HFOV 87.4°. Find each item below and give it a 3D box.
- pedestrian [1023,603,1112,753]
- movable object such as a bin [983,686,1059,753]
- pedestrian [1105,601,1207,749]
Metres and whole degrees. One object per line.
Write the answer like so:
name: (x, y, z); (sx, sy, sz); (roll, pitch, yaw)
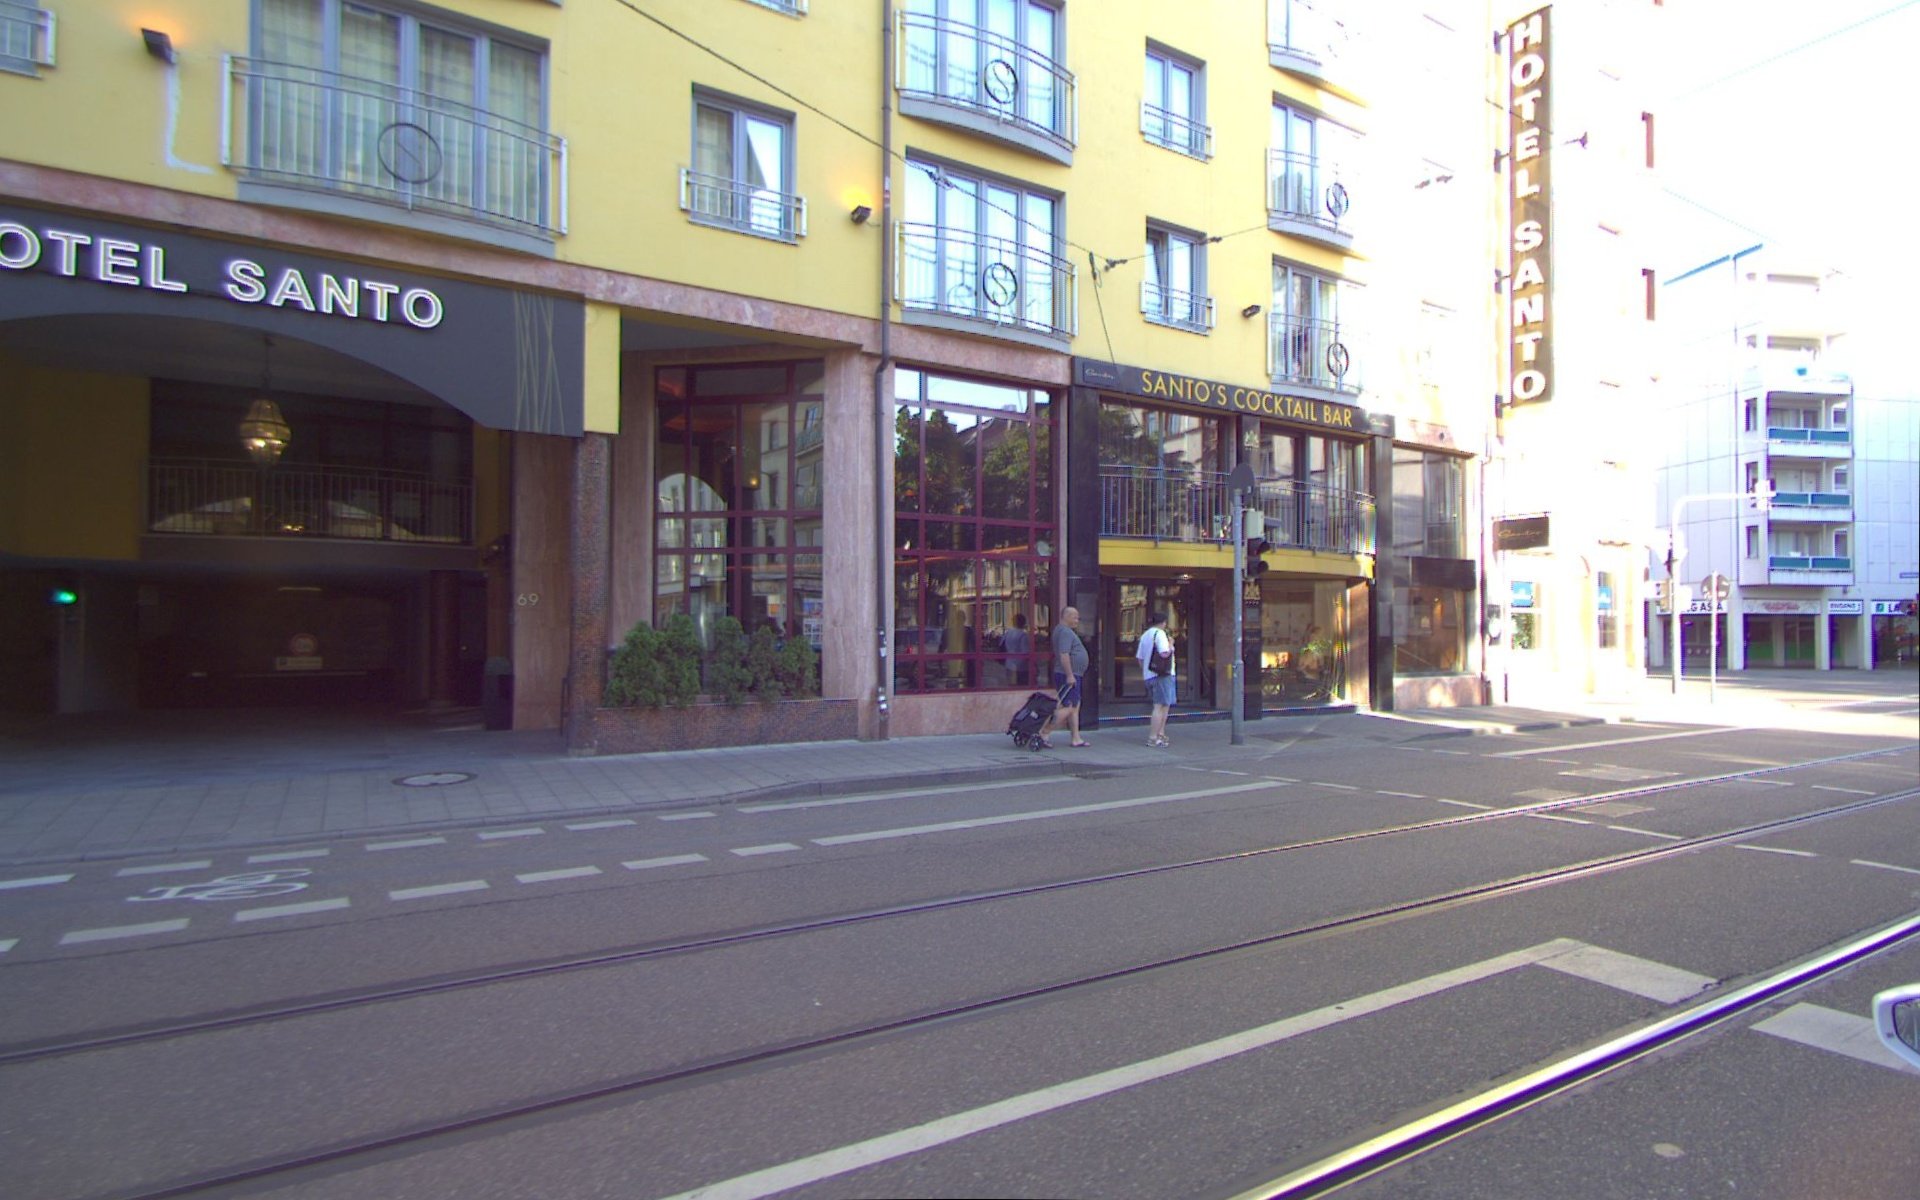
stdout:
pedestrian: (1.364, 0.960, 12.834); (0.741, 1.795, 0.793); (0, 3, -31)
movable object such as a bin: (0.743, 1.447, 12.260); (0.831, 0.726, 0.381); (1, 3, -30)
pedestrian: (2.606, 0.966, 13.405); (1.034, 1.843, 0.747); (0, 3, -31)
